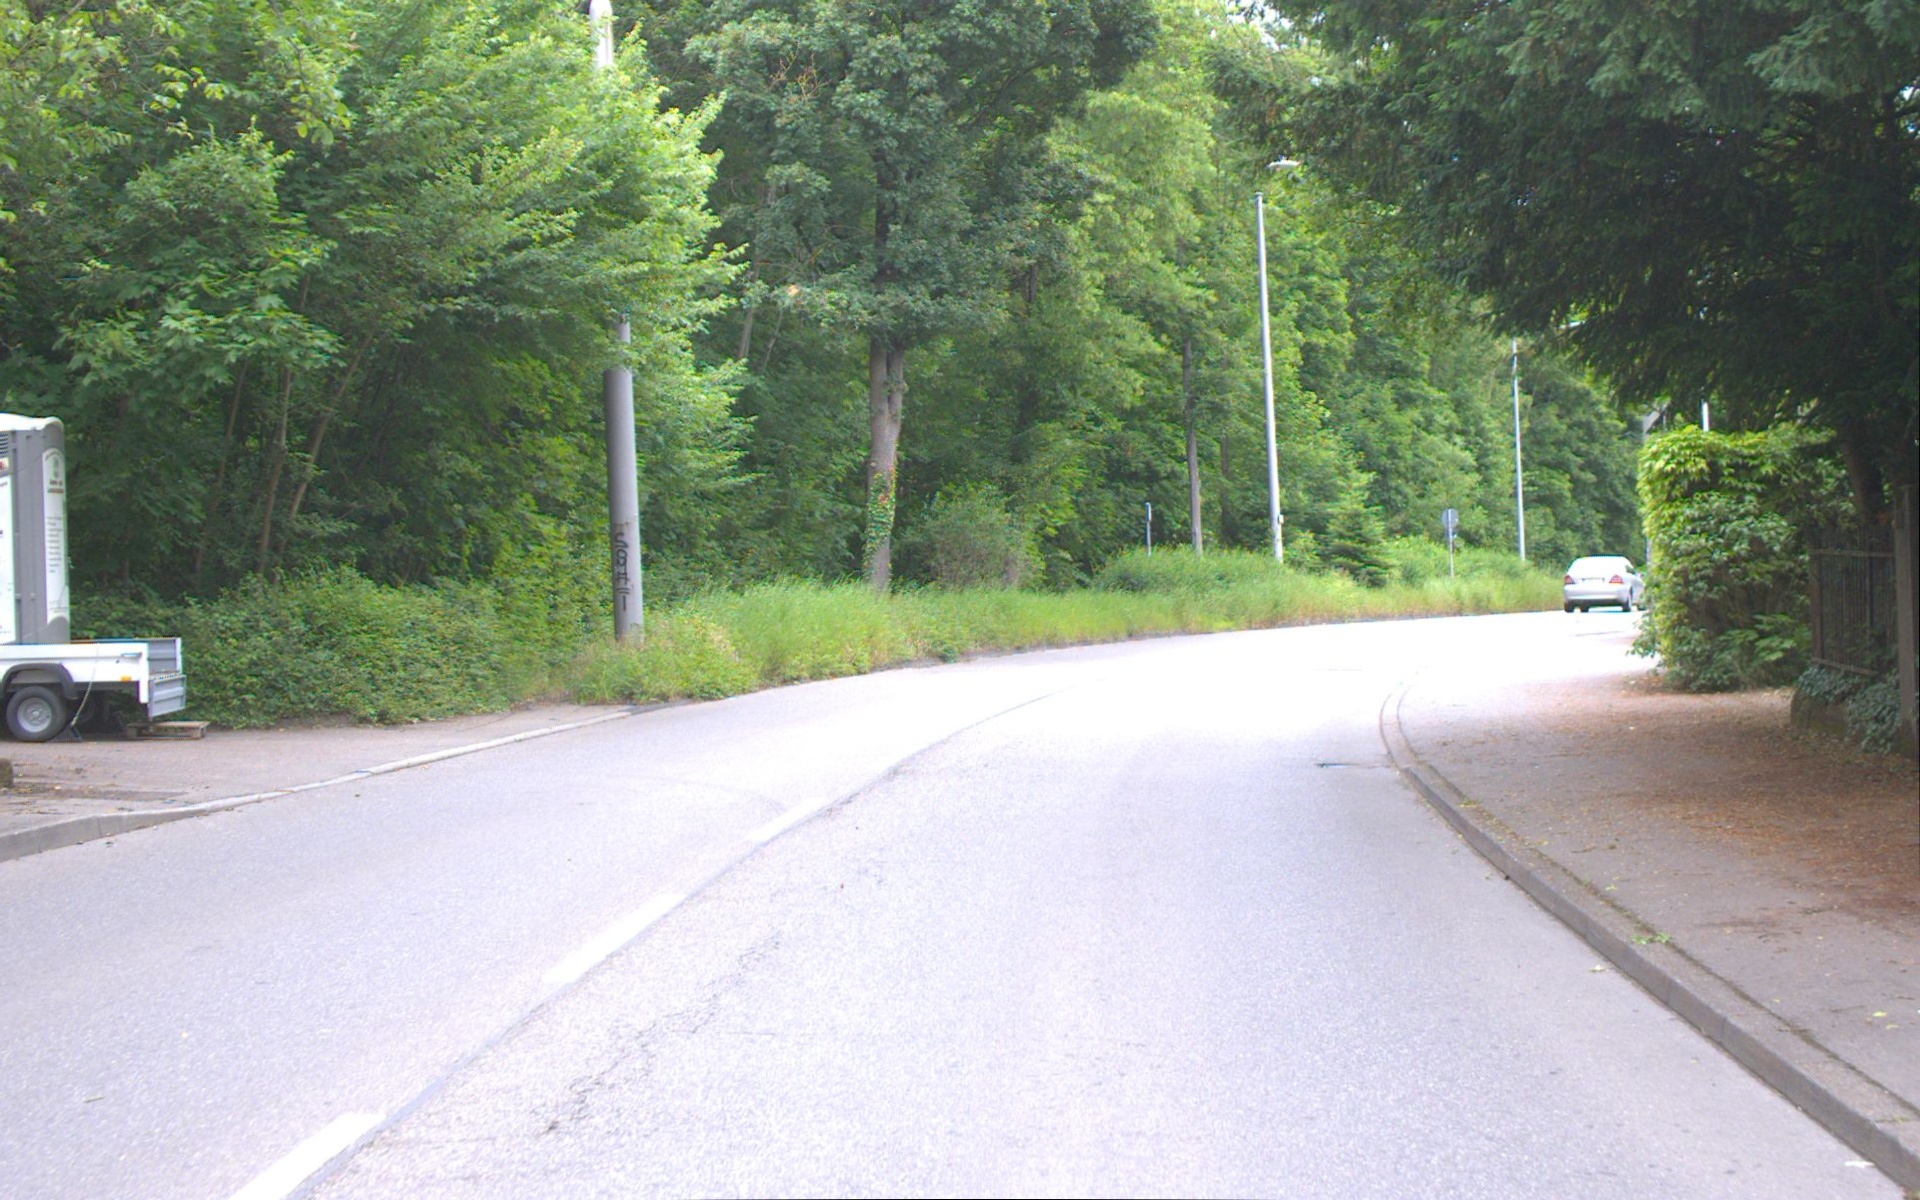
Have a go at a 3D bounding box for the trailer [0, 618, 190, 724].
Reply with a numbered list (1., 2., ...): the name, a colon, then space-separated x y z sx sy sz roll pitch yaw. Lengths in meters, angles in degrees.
1. trailer: -8.139 0.613 29.189 2.954 0.826 1.476 -2 0 -6

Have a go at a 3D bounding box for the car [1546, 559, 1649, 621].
1. car: 16.485 -0.269 88.812 1.995 1.481 3.996 -1 1 19
